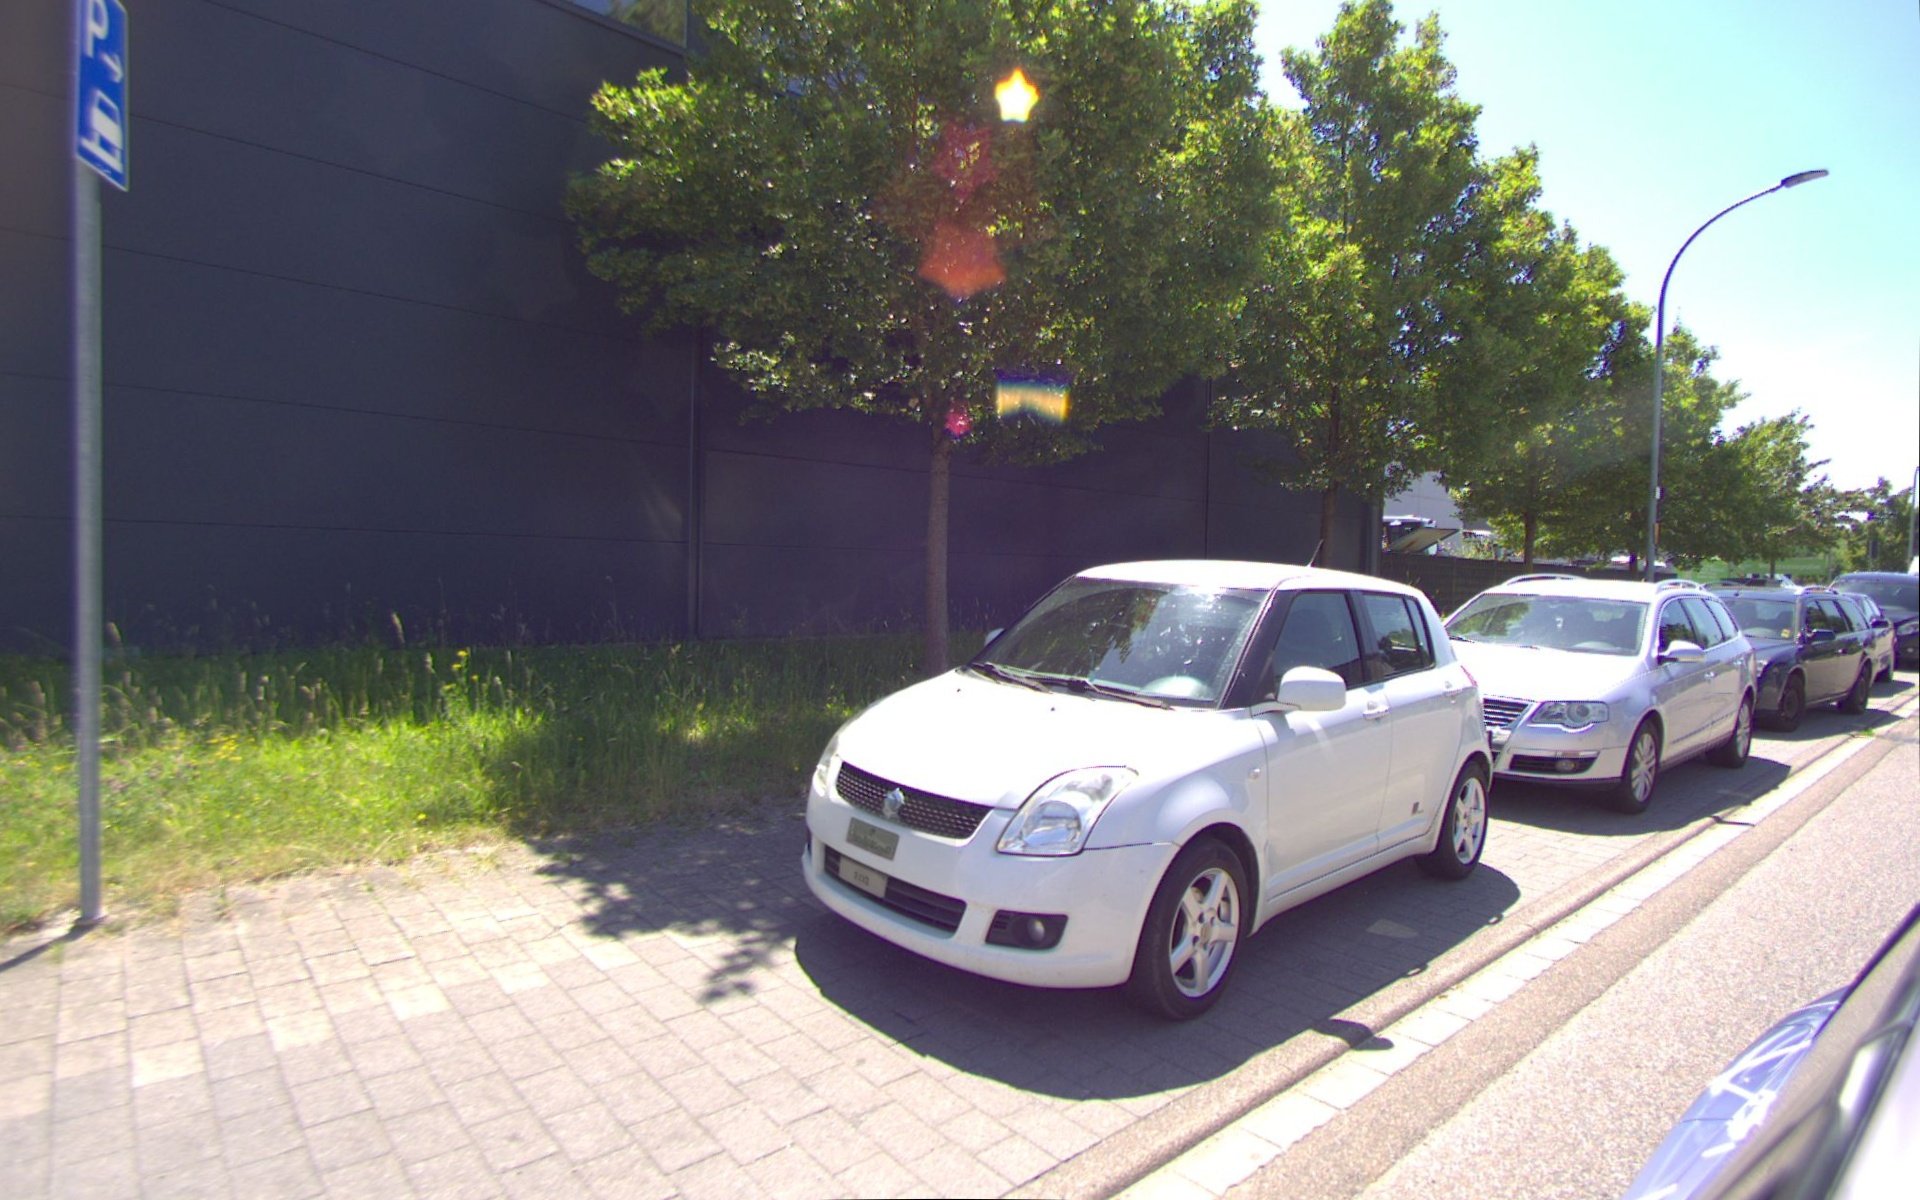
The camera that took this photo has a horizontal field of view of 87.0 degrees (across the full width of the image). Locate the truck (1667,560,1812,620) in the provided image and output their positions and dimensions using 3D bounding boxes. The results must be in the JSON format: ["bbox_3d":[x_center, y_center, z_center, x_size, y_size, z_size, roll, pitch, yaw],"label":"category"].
[{"bbox_3d":[42.331,-0.629,55.059,2.373,2.948,5.832,-1,3,-41],"label":"truck"}]

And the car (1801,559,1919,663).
[{"bbox_3d":[18.502,0.150,20.202,4.280,1.847,1.997,-1,3,-42],"label":"car"}]

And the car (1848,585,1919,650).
[{"bbox_3d":[22.198,0.365,23.512,4.042,1.303,1.716,-2,4,-40],"label":"car"}]

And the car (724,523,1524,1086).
[{"bbox_3d":[1.000,0.493,4.549,3.684,1.487,1.638,0,3,-44],"label":"car"}]

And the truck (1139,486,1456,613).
[{"bbox_3d":[11.413,-1.834,35.191,9.964,3.868,2.995,4,3,39],"label":"truck"}]

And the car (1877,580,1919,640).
[{"bbox_3d":[26.274,0.269,27.133,4.398,1.512,1.833,0,3,-40],"label":"car"}]

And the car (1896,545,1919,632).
[{"bbox_3d":[31.044,-0.325,31.248,6.042,2.527,2.273,-1,3,-40],"label":"car"}]

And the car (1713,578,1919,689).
[{"bbox_3d":[13.671,0.404,16.028,4.631,1.448,1.854,-1,3,-41],"label":"car"}]

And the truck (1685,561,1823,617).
[{"bbox_3d":[45.426,-0.678,58.014,2.268,2.907,5.909,-1,3,-43],"label":"truck"}]

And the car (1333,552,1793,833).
[{"bbox_3d":[4.887,0.478,7.915,4.427,1.581,1.752,-1,3,-41],"label":"car"}]

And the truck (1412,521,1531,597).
[{"bbox_3d":[27.781,-2.238,55.075,2.755,3.922,5.073,-1,3,-40],"label":"truck"}]

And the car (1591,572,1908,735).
[{"bbox_3d":[9.309,0.470,11.800,4.618,1.523,1.715,-1,3,-37],"label":"car"}]
